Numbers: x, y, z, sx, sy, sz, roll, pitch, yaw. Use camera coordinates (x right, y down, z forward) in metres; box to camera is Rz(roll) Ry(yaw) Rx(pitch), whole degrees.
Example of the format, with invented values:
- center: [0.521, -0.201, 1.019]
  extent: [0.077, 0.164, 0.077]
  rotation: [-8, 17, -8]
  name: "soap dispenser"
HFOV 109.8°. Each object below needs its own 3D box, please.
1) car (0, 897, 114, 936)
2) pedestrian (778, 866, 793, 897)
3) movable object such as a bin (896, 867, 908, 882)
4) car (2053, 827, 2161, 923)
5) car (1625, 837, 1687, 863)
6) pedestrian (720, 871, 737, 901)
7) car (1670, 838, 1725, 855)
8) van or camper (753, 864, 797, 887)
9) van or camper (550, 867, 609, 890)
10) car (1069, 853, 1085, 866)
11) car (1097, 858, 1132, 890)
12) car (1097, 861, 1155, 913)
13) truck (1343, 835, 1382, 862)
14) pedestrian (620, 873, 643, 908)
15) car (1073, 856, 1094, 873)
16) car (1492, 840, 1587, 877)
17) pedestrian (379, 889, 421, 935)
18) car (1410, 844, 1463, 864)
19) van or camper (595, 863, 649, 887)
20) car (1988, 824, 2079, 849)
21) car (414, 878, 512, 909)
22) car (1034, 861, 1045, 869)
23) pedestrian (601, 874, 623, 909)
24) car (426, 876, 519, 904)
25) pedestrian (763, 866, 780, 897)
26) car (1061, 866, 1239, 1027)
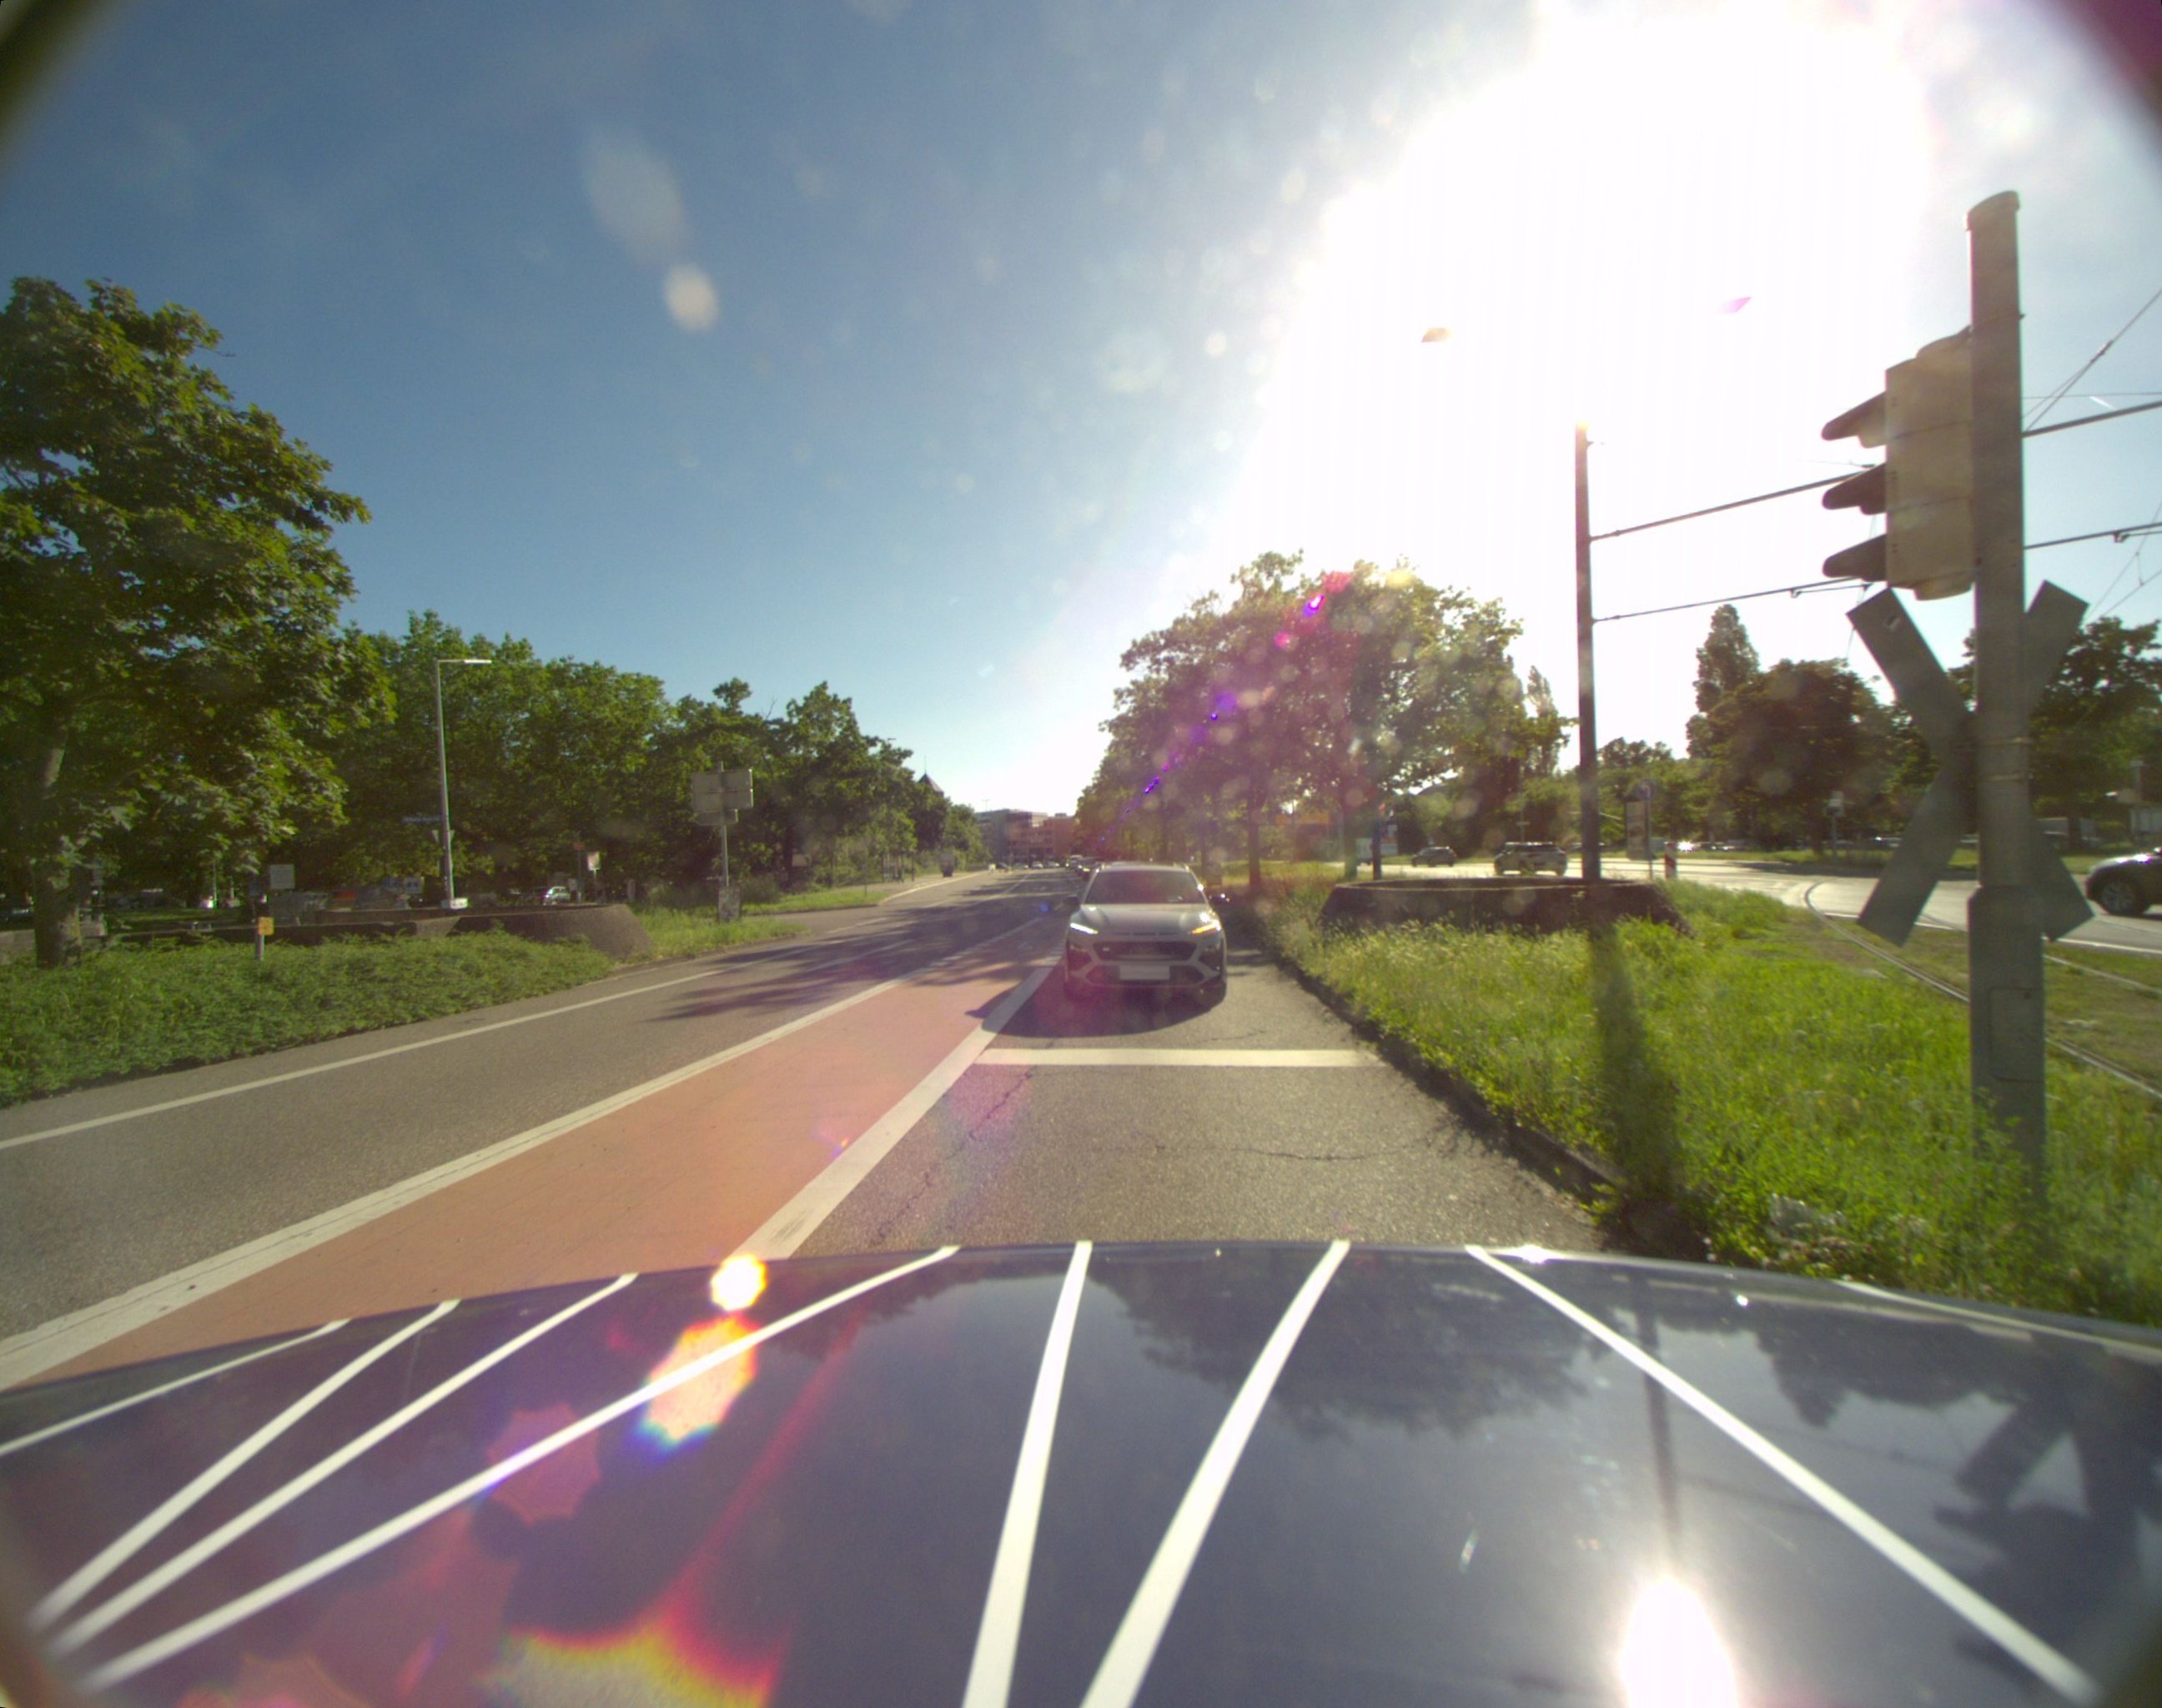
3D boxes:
- center: [-43.265, 2.611, 31.122]
  extent: [1.998, 1.290, 4.001]
  rotation: [-3, 1, 5]
  name: "car"
- center: [-15.974, 1.483, 41.093]
  extent: [0.604, 1.690, 0.410]
  rotation: [-2, 1, -3]
  name: "pedestrian"
- center: [-12.656, 1.450, 53.735]
  extent: [0.728, 1.024, 0.578]
  rotation: [-2, 0, -3]
  name: "movable object such as a bin"
- center: [18.956, 0.332, 12.010]
  extent: [1.756, 1.604, 4.727]
  rotation: [-2, 0, 12]
  name: "car"
- center: [48.395, -0.356, 63.933]
  extent: [5.006, 2.002, 2.234]
  rotation: [-2, 0, -28]
  name: "car"
- center: [-18.111, 1.634, 39.088]
  extent: [0.529, 1.509, 0.613]
  rotation: [-2, 1, 0]
  name: "pedestrian"
- center: [49.406, -0.600, 60.857]
  extent: [4.005, 1.275, 1.996]
  rotation: [-2, 0, -28]
  name: "car"
- center: [-28.525, 1.946, 71.077]
  extent: [2.458, 1.902, 5.324]
  rotation: [-2, 0, -6]
  name: "van or camper"
- center: [-47.793, 2.307, 72.570]
  extent: [2.458, 1.902, 5.324]
  rotation: [-2, 0, -6]
  name: "van or camper"
- center: [-0.545, 0.743, 97.090]
  extent: [1.744, 1.539, 4.002]
  rotation: [-3, -1, 3]
  name: "car"
- center: [1.727, 1.013, 39.214]
  extent: [1.678, 1.499, 3.949]
  rotation: [-2, 0, 3]
  name: "car"
- center: [1.484, 1.034, 25.526]
  extent: [1.744, 1.539, 4.001]
  rotation: [-2, 0, 3]
  name: "car"
- center: [26.397, -0.474, 71.335]
  extent: [1.793, 2.412, 4.108]
  rotation: [-2, 0, -5]
  name: "truck"
- center: [-21.894, 1.767, 37.032]
  extent: [0.705, 1.610, 0.566]
  rotation: [-3, 1, -8]
  name: "pedestrian"
- center: [0.251, 0.938, 67.690]
  extent: [1.782, 1.397, 4.000]
  rotation: [-2, 0, 1]
  name: "car"
- center: [21.311, 0.206, 35.554]
  extent: [1.998, 1.553, 4.388]
  rotation: [-2, 0, 4]
  name: "car"
- center: [-23.543, 1.986, 26.284]
  extent: [0.652, 1.489, 0.908]
  rotation: [-2, 1, -10]
  name: "pedestrian"
- center: [26.727, -0.004, 57.292]
  extent: [1.668, 1.440, 4.400]
  rotation: [-2, 0, -4]
  name: "car"
- center: [-44.070, 1.981, 73.076]
  extent: [2.458, 2.146, 5.324]
  rotation: [-2, 0, -8]
  name: "van or camper"
- center: [72.001, -1.336, 57.482]
  extent: [1.884, 1.709, 3.956]
  rotation: [-2, 0, -26]
  name: "car"
- center: [-32.040, 2.048, 39.482]
  extent: [3.588, 1.307, 1.622]
  rotation: [-2, 2, -8]
  name: "car"
- center: [-7.813, 2.073, 144.152]
  extent: [1.999, 1.523, 3.999]
  rotation: [-1, 0, -2]
  name: "car"
- center: [-22.781, 1.819, 36.911]
  extent: [0.599, 1.610, 0.566]
  rotation: [-3, 1, -8]
  name: "pedestrian"
- center: [-33.690, 1.978, 42.142]
  extent: [3.651, 1.267, 1.622]
  rotation: [-2, 2, -8]
  name: "car"
- center: [-16.538, 1.460, 40.612]
  extent: [0.623, 1.625, 0.551]
  rotation: [-2, 1, -2]
  name: "pedestrian"
- center: [0.786, 0.986, 9.787]
  extent: [1.780, 1.542, 3.980]
  rotation: [-2, 0, 2]
  name: "car"
